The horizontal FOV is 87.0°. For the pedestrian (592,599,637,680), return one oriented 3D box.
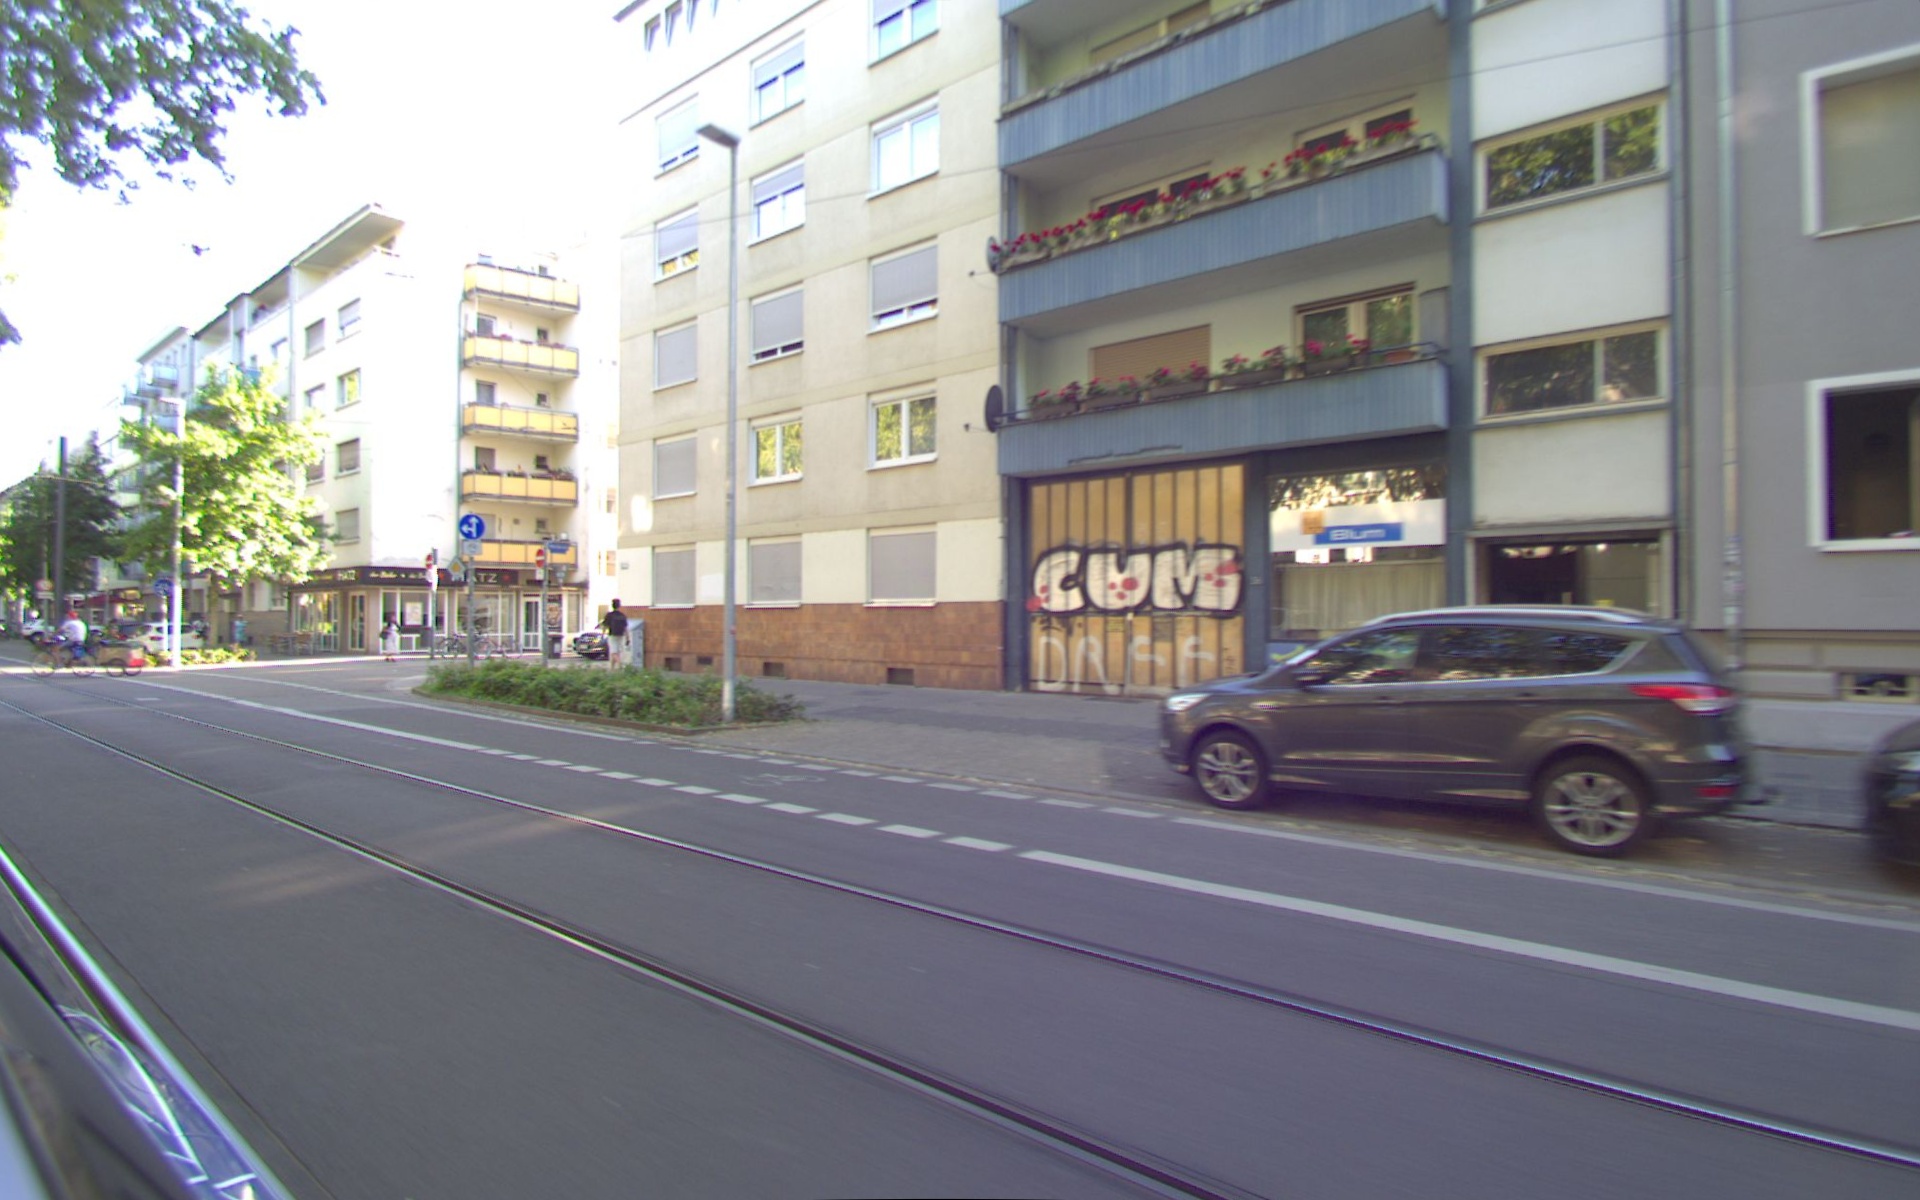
[{"bbox_3d":[-8.350,0.929,24.456,0.762,1.913,0.800,-1,0,-41],"label":"pedestrian"}]

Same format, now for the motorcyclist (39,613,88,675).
[{"bbox_3d":[-23.994,1.172,27.095,0.744,1.630,0.590,0,-1,-7],"label":"motorcyclist"}]

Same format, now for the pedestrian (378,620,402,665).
[{"bbox_3d":[-19.670,1.451,34.915,0.587,1.516,0.656,-1,0,-41],"label":"pedestrian"}]

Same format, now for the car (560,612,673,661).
[{"bbox_3d":[-13.364,1.406,39.542,1.648,1.807,3.950,-1,-2,36],"label":"car"}]

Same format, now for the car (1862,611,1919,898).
[{"bbox_3d":[7.517,0.870,5.205,4.199,1.612,1.639,-1,0,40],"label":"car"}]

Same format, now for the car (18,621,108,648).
[{"bbox_3d":[-53.530,2.035,60.417,1.587,1.535,3.899,-1,-2,44],"label":"car"}]

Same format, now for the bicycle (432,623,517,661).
[{"bbox_3d":[-17.770,1.522,37.101,2.762,1.323,0.540,-1,0,-30],"label":"bicycle"}]

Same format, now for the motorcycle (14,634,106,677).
[{"bbox_3d":[-24.092,1.487,27.107,1.803,1.127,0.591,0,-1,-7],"label":"motorcycle"}]

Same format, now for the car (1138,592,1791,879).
[{"bbox_3d":[3.896,0.860,8.328,4.484,1.752,1.762,-1,0,39],"label":"car"}]

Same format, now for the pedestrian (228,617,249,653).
[{"bbox_3d":[-30.890,1.500,43.332,0.655,1.516,0.588,-1,0,41],"label":"pedestrian"}]

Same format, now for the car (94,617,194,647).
[{"bbox_3d":[-42.293,1.639,52.500,1.587,1.535,3.899,-1,-2,44],"label":"car"}]

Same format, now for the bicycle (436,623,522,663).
[{"bbox_3d":[-17.354,1.545,36.553,2.762,1.323,0.540,-1,0,-30],"label":"bicycle"}]
